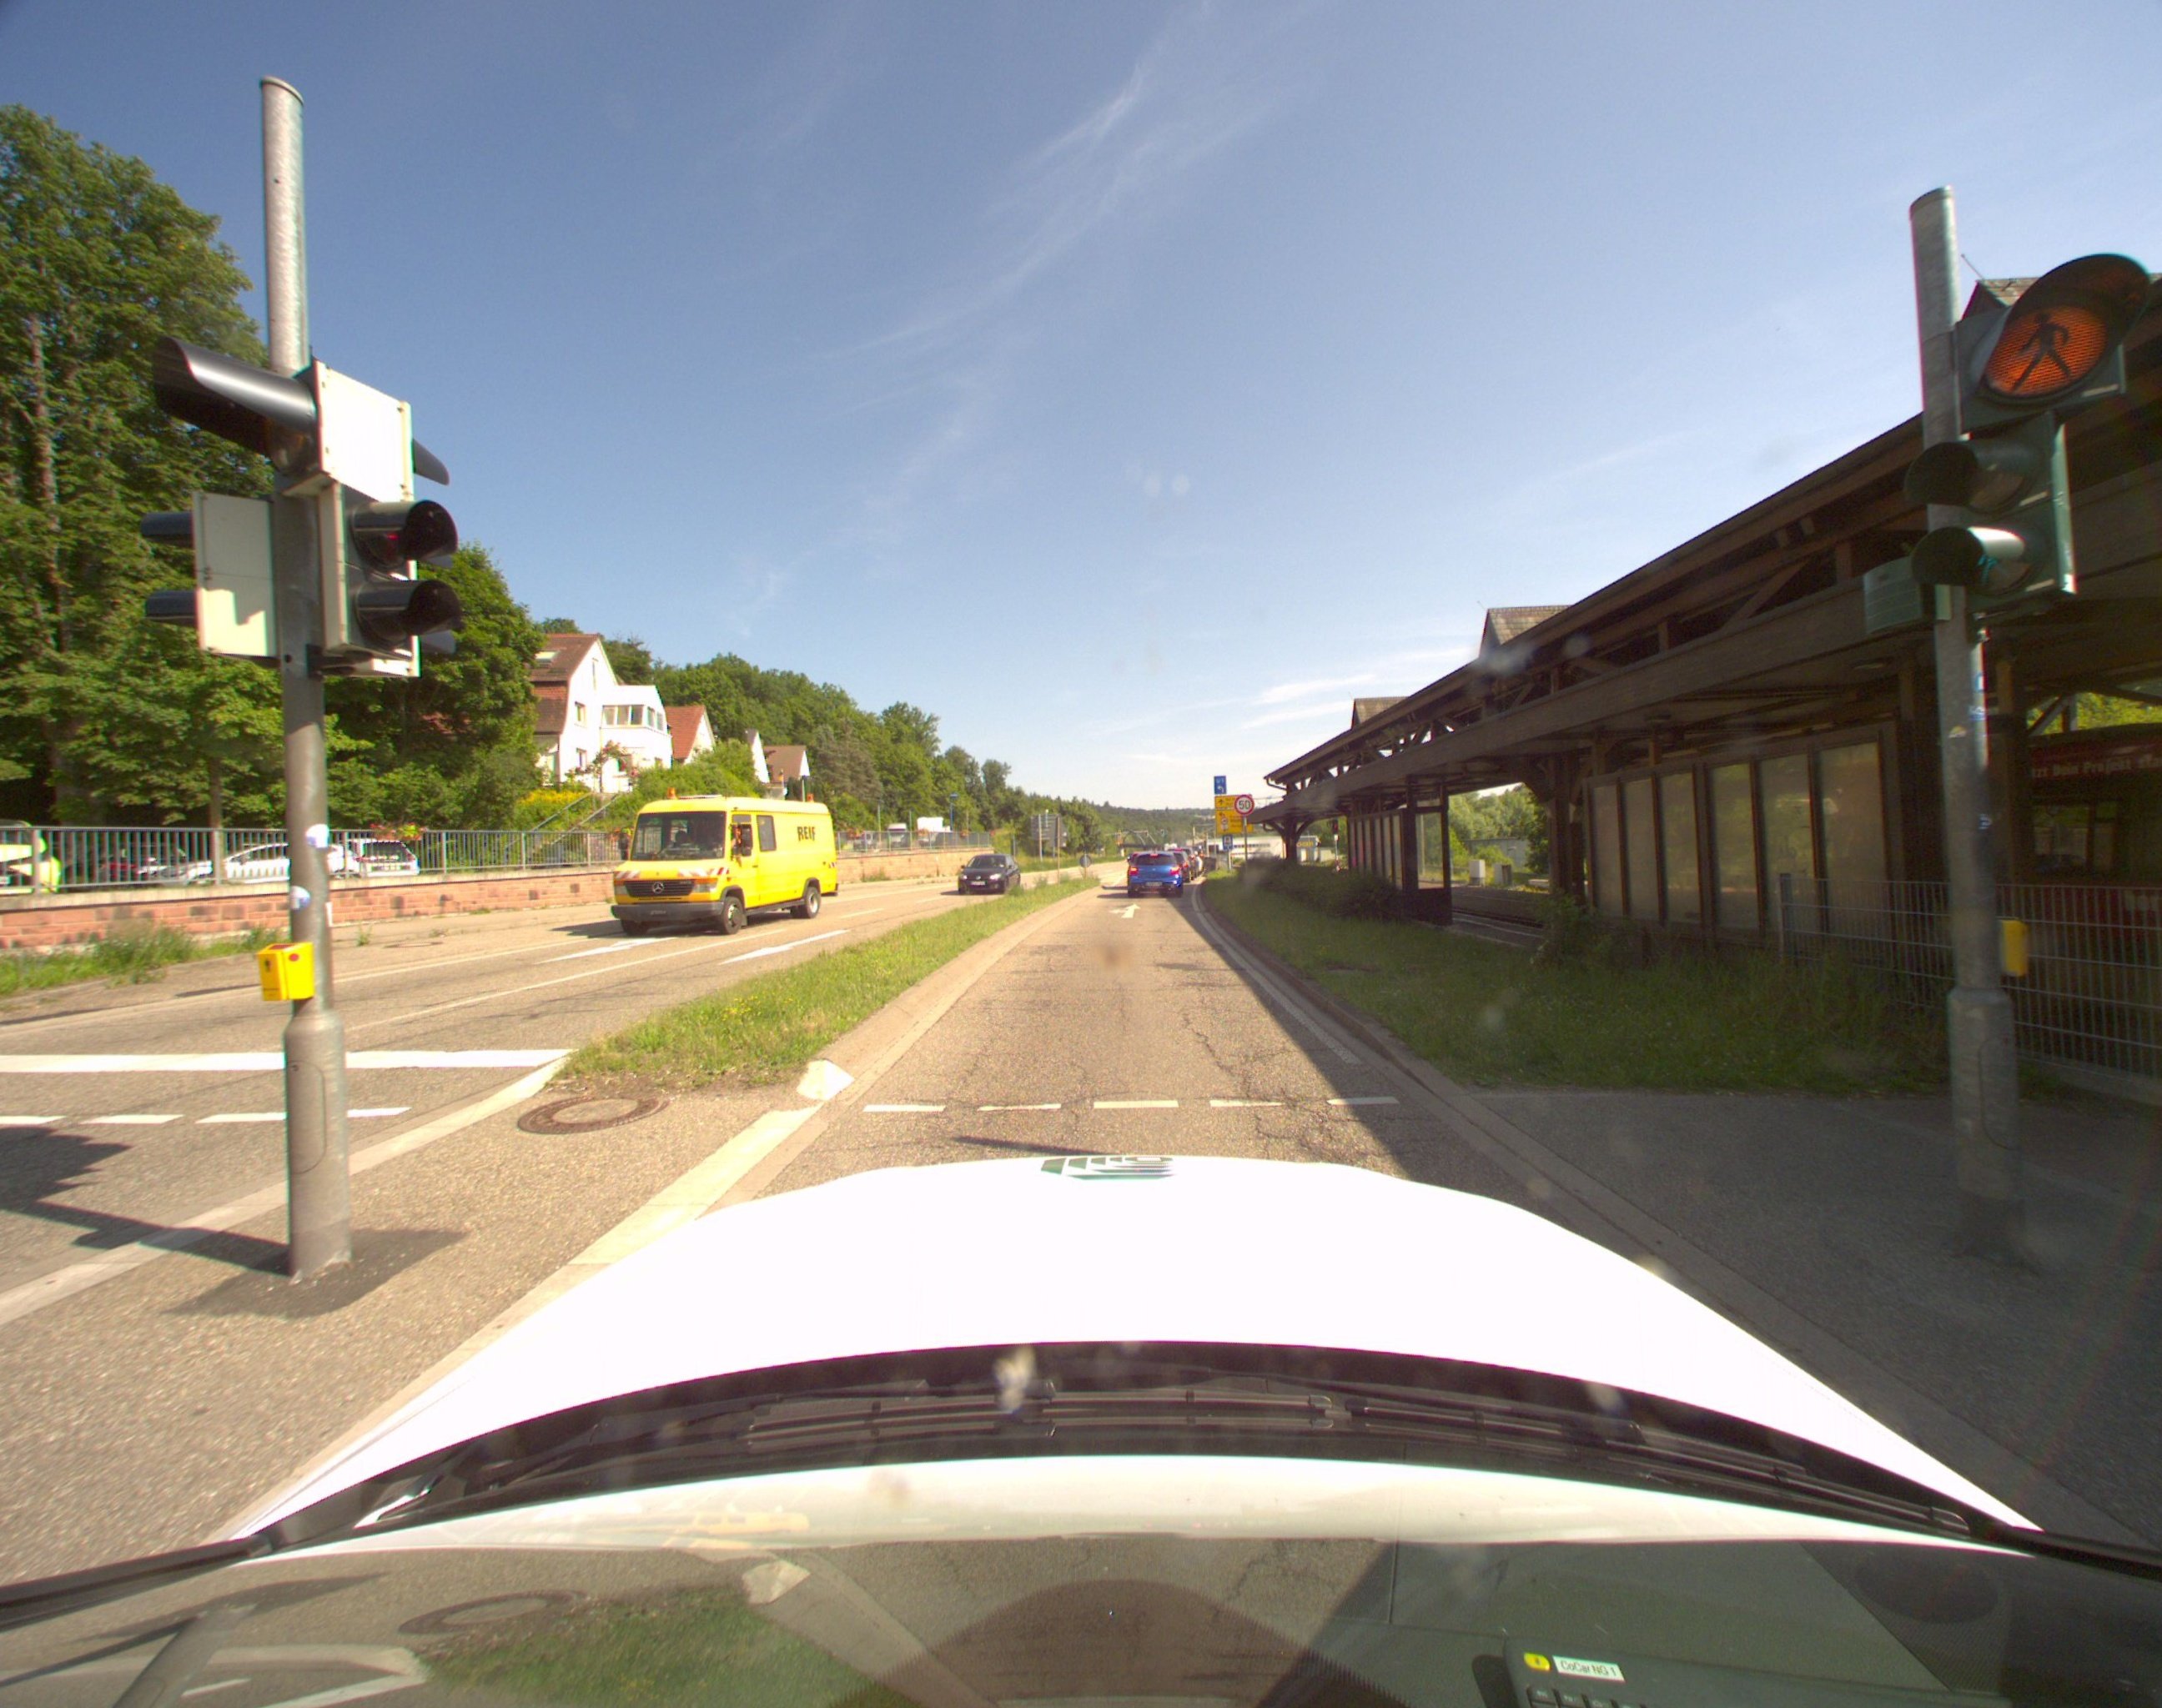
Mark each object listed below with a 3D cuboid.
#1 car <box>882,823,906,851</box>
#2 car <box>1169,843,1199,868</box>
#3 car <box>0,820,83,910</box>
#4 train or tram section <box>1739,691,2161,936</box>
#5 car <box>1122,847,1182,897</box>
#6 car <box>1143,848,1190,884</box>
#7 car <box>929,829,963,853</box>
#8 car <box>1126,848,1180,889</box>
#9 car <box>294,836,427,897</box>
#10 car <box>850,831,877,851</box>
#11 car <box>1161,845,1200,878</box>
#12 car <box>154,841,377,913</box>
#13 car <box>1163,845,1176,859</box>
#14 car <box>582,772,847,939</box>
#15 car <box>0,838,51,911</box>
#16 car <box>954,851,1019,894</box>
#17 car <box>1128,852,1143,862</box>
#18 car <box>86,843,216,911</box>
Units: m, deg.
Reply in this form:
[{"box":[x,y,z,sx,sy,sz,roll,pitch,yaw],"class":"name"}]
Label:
[{"box":[-17.542,-1.605,76.715,2.095,2.444,5.761,0,1,-12],"class":"car"},{"box":[7.385,0.081,58.095,1.982,1.736,4.009,1,0,8],"class":"car"},{"box":[-18.286,0.125,13.436,3.949,1.381,1.926,1,1,34],"class":"car"},{"box":[16.273,-0.565,12.694,2.745,3.364,12.056,1,1,2],"class":"train or tram section"},{"box":[2.408,0.549,27.332,1.859,1.548,4.006,-1,0,6],"class":"car"},{"box":[4.079,0.521,38.175,1.982,1.531,4.612,-2,0,8],"class":"car"},{"box":[-11.170,-1.073,67.632,2.014,1.920,4.731,1,1,0],"class":"car"},{"box":[2.990,0.546,32.983,1.982,1.571,4.009,0,0,8],"class":"car"},{"box":[-23.850,0.357,26.962,3.950,1.875,1.925,1,1,26],"class":"car"},{"box":[-19.328,-1.134,72.367,1.895,1.629,3.987,-1,0,-9],"class":"car"},{"box":[5.443,0.367,44.161,1.982,1.686,4.507,1,0,8],"class":"car"},{"box":[-22.239,0.569,22.350,1.897,1.789,4.026,-1,0,34],"class":"car"},{"box":[13.817,-0.375,127.462,1.983,2.144,4.728,0,0,6],"class":"car"},{"box":[-7.586,0.029,17.993,2.456,3.011,6.474,0,0,5],"class":"car"},{"box":[-28.077,0.487,20.624,3.949,1.700,1.926,2,2,31],"class":"car"},{"box":[-3.459,0.648,30.461,1.738,1.462,4.047,-1,0,3],"class":"car"},{"box":[8.404,0.417,125.498,1.781,1.470,4.728,-1,0,9],"class":"car"},{"box":[-26.005,0.556,22.749,3.949,1.671,2.013,1,1,36],"class":"car"}]
